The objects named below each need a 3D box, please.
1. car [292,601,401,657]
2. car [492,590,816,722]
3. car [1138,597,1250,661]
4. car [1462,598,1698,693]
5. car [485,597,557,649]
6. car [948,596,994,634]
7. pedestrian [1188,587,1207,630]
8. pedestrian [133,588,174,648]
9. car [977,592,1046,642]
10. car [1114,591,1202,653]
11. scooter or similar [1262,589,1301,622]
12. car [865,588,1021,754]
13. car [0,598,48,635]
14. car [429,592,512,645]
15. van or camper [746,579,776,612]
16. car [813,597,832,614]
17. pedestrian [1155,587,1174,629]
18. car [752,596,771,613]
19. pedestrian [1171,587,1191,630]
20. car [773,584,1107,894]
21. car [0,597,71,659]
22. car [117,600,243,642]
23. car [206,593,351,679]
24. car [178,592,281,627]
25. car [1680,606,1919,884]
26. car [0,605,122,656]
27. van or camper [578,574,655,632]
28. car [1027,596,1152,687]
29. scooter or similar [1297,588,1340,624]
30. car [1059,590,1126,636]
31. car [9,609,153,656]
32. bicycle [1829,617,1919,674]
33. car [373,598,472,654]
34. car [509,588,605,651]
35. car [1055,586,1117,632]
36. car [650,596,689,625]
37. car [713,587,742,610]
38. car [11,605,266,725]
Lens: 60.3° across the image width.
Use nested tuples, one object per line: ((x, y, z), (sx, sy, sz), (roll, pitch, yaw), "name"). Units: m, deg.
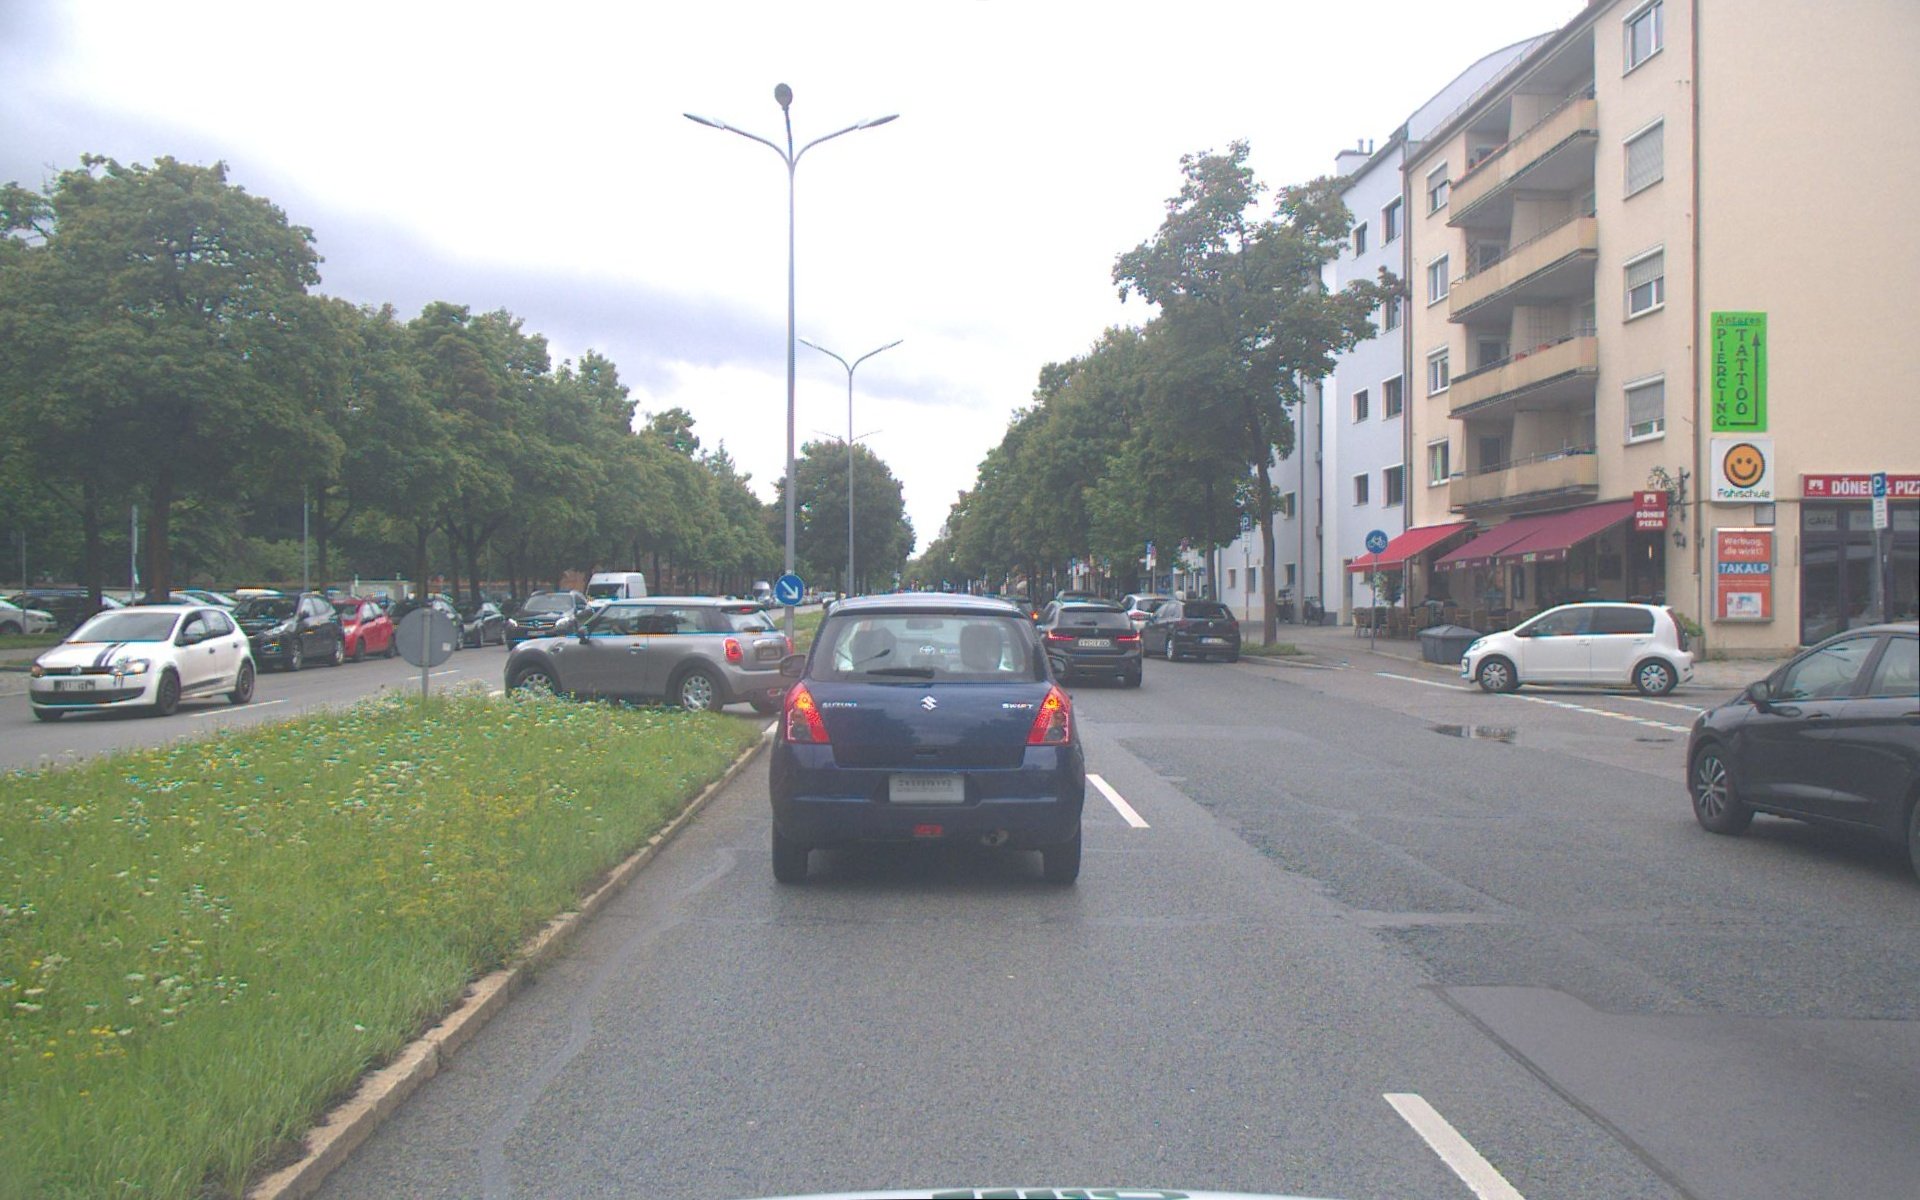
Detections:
((-15.329, 0.697, 41.451), (1.559, 1.335, 3.379), (1, 0, -2), "car")
((-3.775, 0.628, 20.388), (3.648, 1.488, 1.686), (0, 0, 26), "car")
((5.659, 0.666, 40.468), (1.829, 1.442, 4.220), (-1, 0, -5), "car")
((10.097, 0.700, 26.919), (3.478, 1.442, 1.870), (0, 0, 25), "car")
((-15.419, 0.790, 58.253), (1.599, 1.771, 3.877), (1, 0, -2), "car")
((0.412, 0.582, 65.209), (1.648, 1.408, 3.917), (1, 0, -2), "car")
((11.485, 0.401, 80.067), (0.778, 2.049, 1.006), (0, 0, -1), "pedestrian")
((-21.532, 0.476, 44.153), (0.713, 1.561, 0.720), (1, 0, -1), "pedestrian")
((1.600, 0.506, 52.780), (1.697, 1.457, 4.438), (1, 0, -4), "car")
((5.366, 0.556, 45.298), (1.756, 1.585, 4.223), (-1, 0, -2), "car")
((13.050, 0.209, 67.194), (1.012, 1.330, 2.755), (0, 0, -1), "scooter or similar")
((-0.220, 0.637, 16.616), (1.415, 1.509, 3.105), (0, 0, -3), "car")
((-39.731, 0.631, 67.004), (4.595, 1.471, 1.672), (1, 0, -1), "car")
((-15.299, 0.554, 51.880), (1.559, 1.585, 3.877), (1, 0, -2), "car")
((-20.940, -0.496, 174.379), (2.509, 3.353, 6.934), (1, 0, -2), "van or camper")
((-13.336, 0.512, 160.245), (1.599, 1.580, 3.877), (1, 0, -2), "car")
((9.830, 0.377, 79.523), (0.778, 2.049, 1.006), (0, 0, -1), "pedestrian")
((-20.067, 0.455, 167.543), (1.599, 1.610, 3.877), (1, 0, -2), "car")
((10.625, 0.388, 79.571), (0.778, 2.049, 1.006), (0, 0, -1), "pedestrian")
((-0.176, 0.672, 10.135), (1.648, 1.528, 3.917), (0, 0, -3), "car")
((-28.190, 0.785, 47.998), (3.844, 1.748, 1.670), (1, 0, -7), "car")
((-28.440, 0.772, 60.404), (3.792, 1.471, 1.670), (1, 0, -7), "car")
((-14.916, 0.758, 36.433), (1.682, 1.771, 3.877), (1, 0, -2), "car")
((-31.969, 0.395, 72.445), (3.792, 1.471, 1.670), (1, 0, -7), "car")
((5.983, 0.815, 9.956), (1.584, 1.491, 3.673), (2, 0, -2), "car")
((-28.104, 0.928, 50.843), (3.792, 1.471, 1.670), (1, 0, -7), "car")
((-16.071, 0.138, 77.757), (2.074, 2.525, 7.447), (1, 0, -1), "van or camper")
((2.220, 0.675, 29.395), (1.723, 1.438, 4.461), (1, 0, -2), "car")
((13.579, 0.205, 62.709), (1.012, 1.330, 2.755), (0, 0, -1), "scooter or similar")
((4.646, 0.445, 58.477), (1.828, 1.544, 4.222), (-1, 0, -3), "car")
((-29.029, 1.058, 54.705), (3.792, 1.471, 1.670), (1, 0, -7), "car")
((16.241, 0.792, 28.939), (1.810, 0.974, 0.557), (1, 0, -3), "bicycle")
((-15.061, 0.704, 46.507), (1.634, 1.471, 3.877), (1, 0, -2), "car")
((-11.559, 0.527, 47.718), (1.731, 1.651, 4.505), (-2, 0, -2), "car")
((4.792, 0.310, 63.342), (1.828, 1.712, 4.222), (-1, 0, -3), "car")
((-16.354, 0.571, 93.276), (1.599, 1.610, 3.877), (1, 0, -2), "car")
((-16.316, -0.097, 116.307), (1.599, 1.610, 3.877), (1, 0, -2), "car")
((-10.976, 0.813, 22.397), (1.586, 1.399, 3.836), (-2, 0, -2), "car")
